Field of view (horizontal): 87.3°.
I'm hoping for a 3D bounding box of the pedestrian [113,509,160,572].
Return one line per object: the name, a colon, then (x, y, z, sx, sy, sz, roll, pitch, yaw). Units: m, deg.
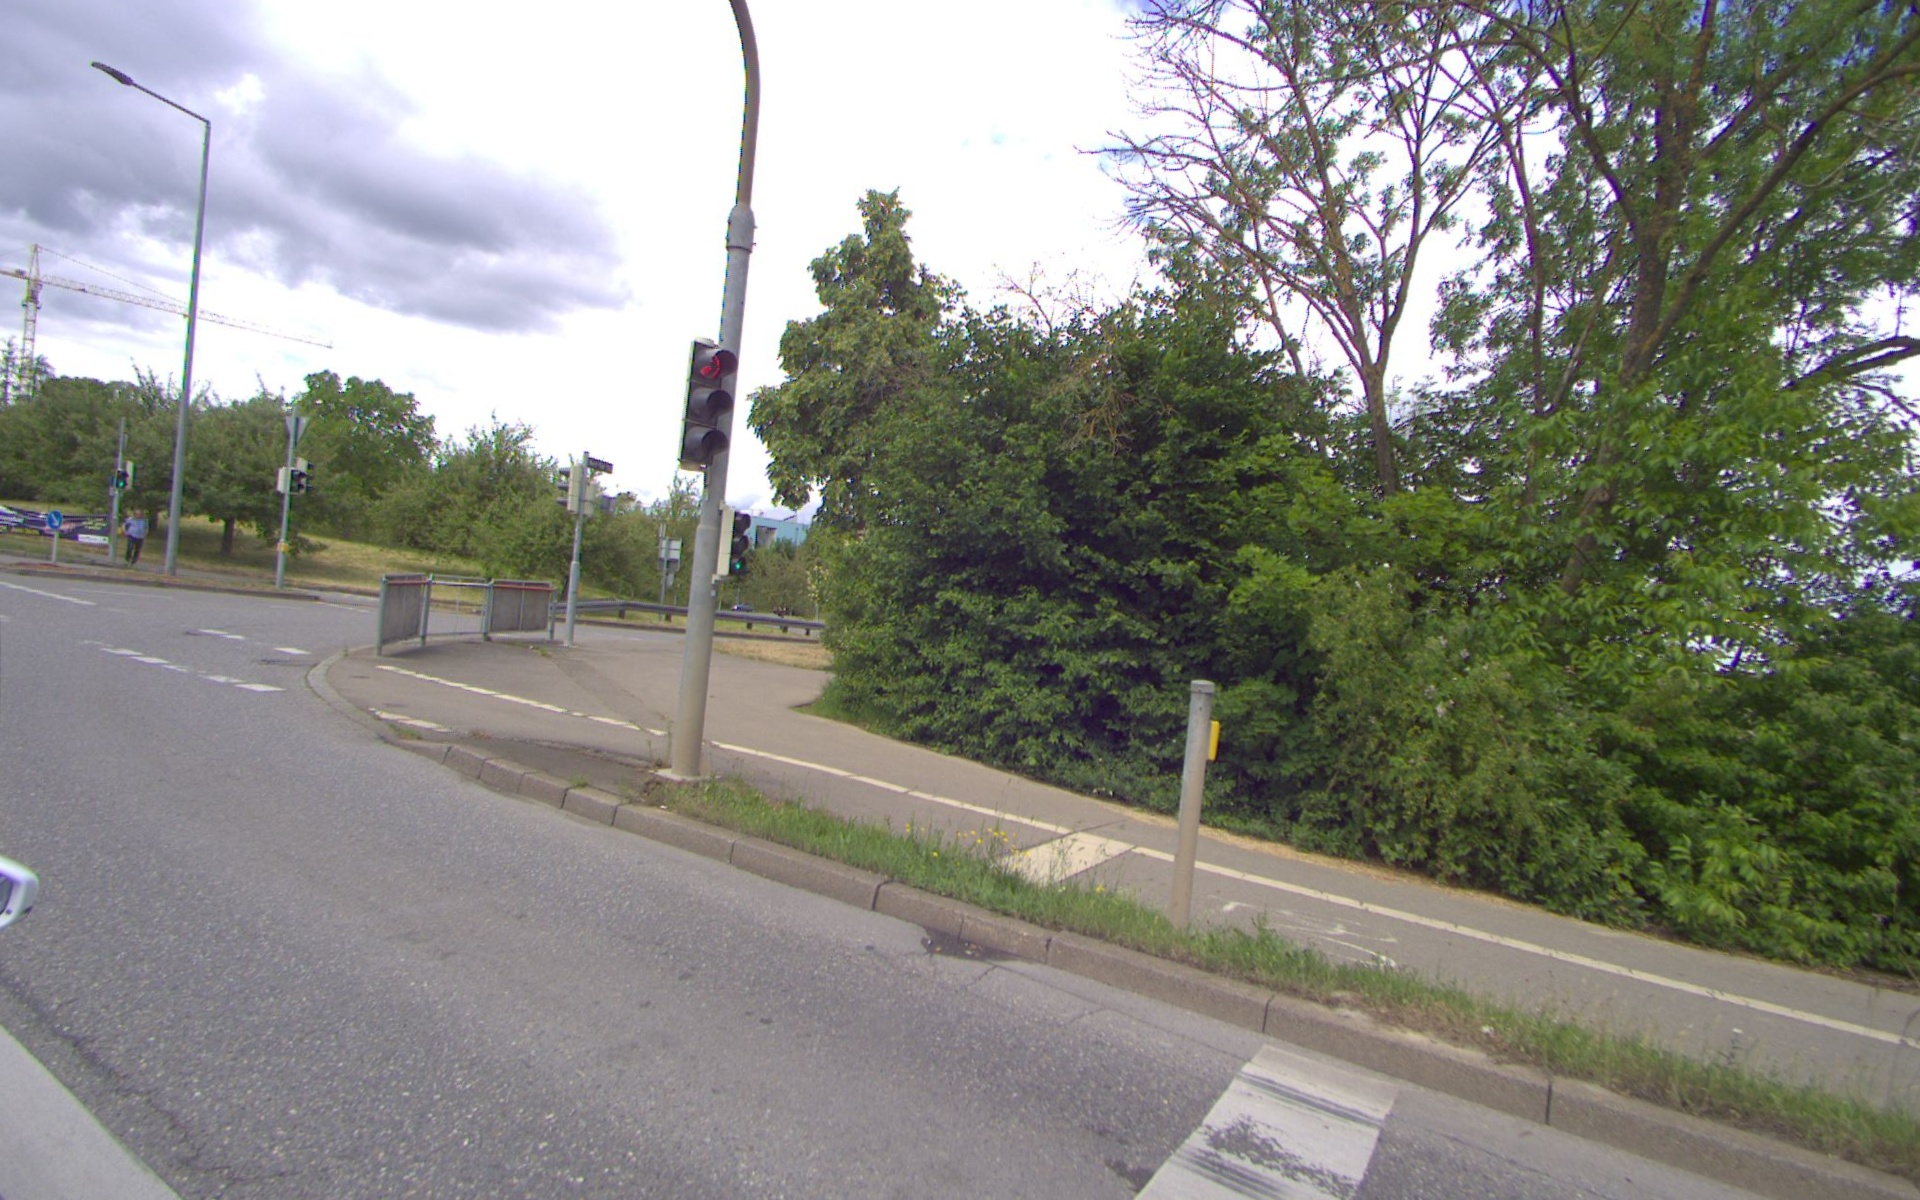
pedestrian: (-25.812, -1.865, 31.540, 1.027, 1.813, 0.719, 6, -1, 35)
